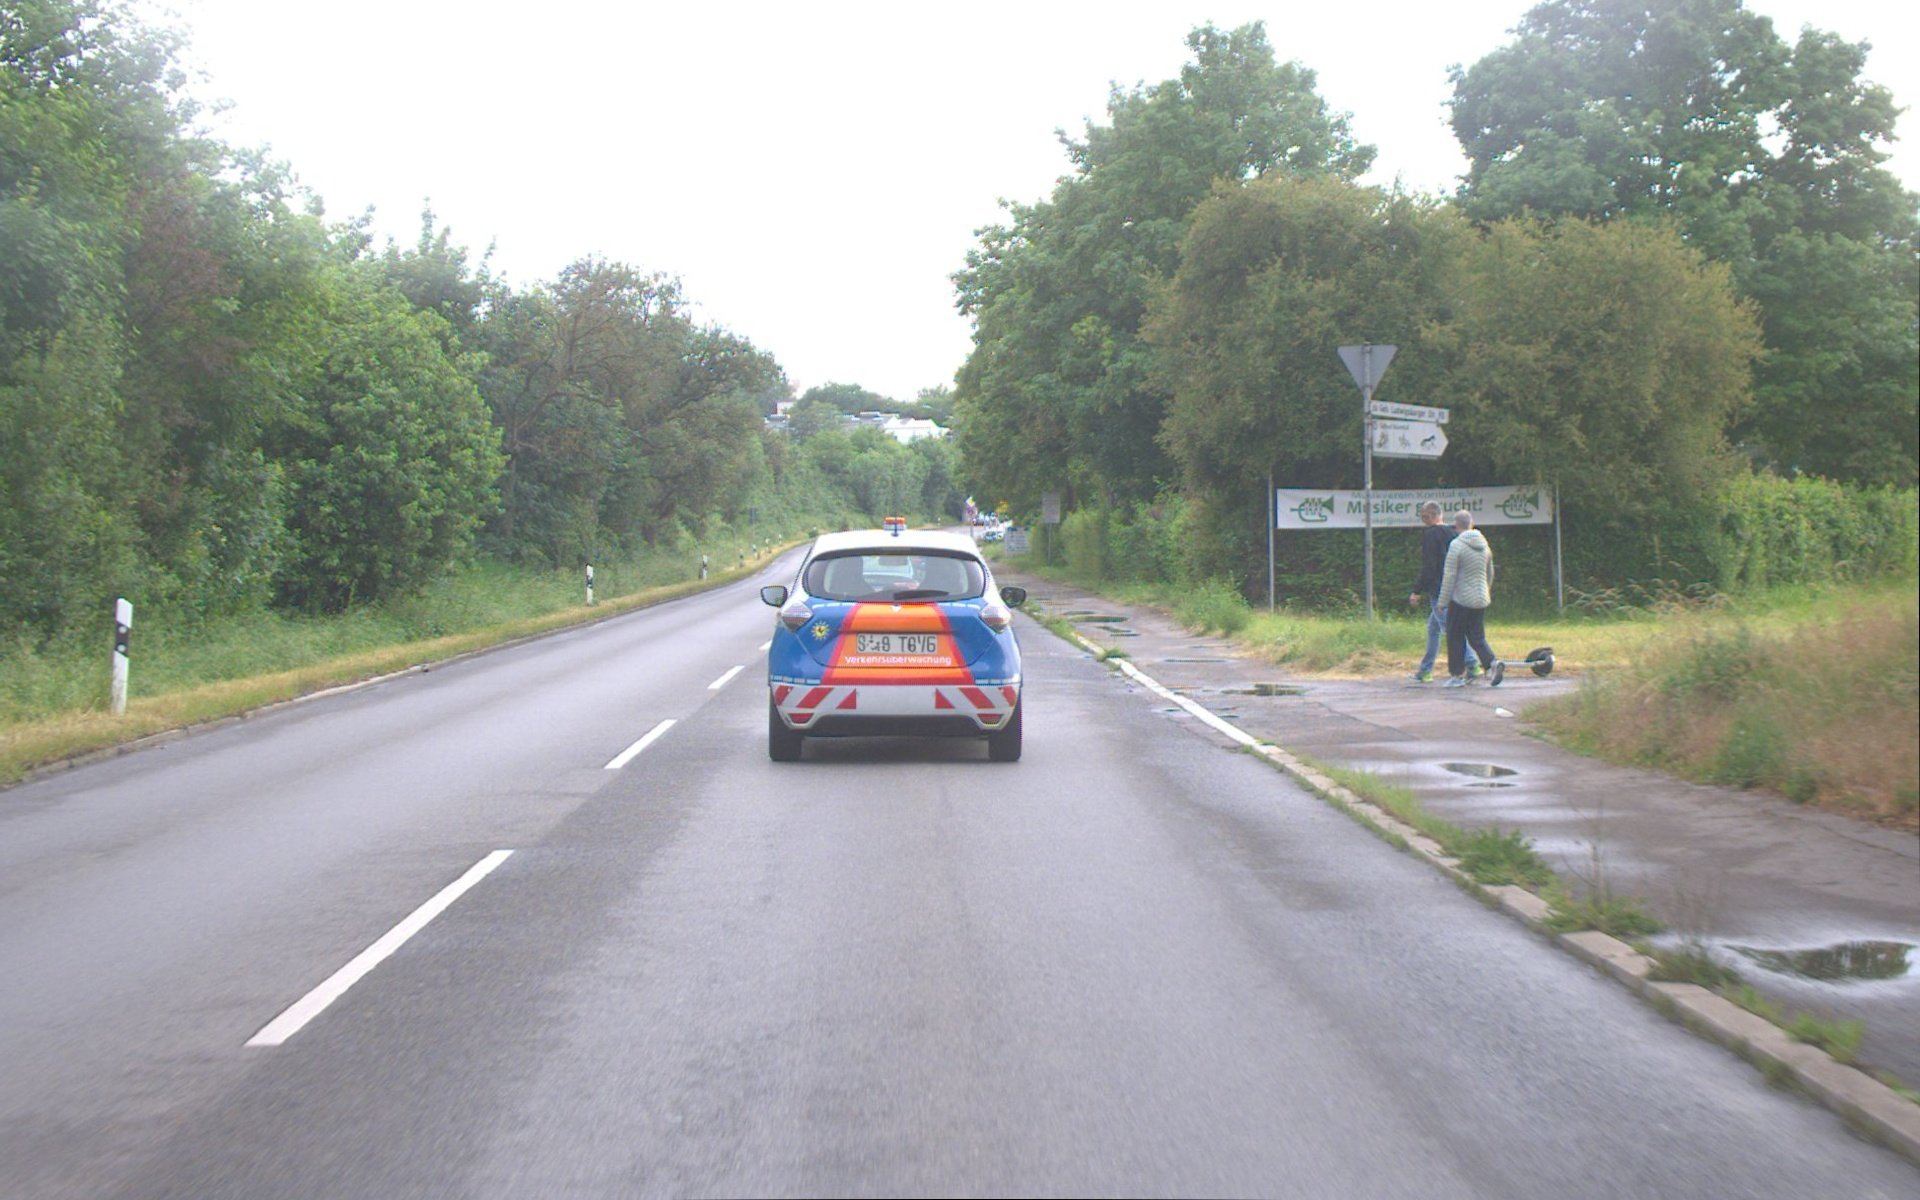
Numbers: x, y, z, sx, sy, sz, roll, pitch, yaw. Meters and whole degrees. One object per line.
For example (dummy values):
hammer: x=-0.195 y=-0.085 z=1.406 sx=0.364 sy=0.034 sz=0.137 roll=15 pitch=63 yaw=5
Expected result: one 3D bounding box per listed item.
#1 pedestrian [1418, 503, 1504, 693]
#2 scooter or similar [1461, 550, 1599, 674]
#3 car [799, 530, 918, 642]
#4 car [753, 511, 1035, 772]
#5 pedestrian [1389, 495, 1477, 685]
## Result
pedestrian: x=4.759 y=-0.022 z=32.711 sx=0.661 sy=1.772 sz=0.760 roll=-1 pitch=1 yaw=-1
scooter or similar: x=5.626 y=0.122 z=33.979 sx=1.326 sy=1.202 sz=0.373 roll=-1 pitch=1 yaw=40
car: x=-1.508 y=-0.237 z=51.867 sx=1.694 sy=1.590 sz=3.856 roll=1 pitch=1 yaw=-1
car: x=-0.468 y=0.242 z=24.339 sx=1.806 sy=1.662 sz=3.856 roll=1 pitch=1 yaw=-1
pedestrian: x=4.611 y=-0.103 z=33.536 sx=0.693 sy=1.821 sz=0.801 roll=-1 pitch=1 yaw=-1
